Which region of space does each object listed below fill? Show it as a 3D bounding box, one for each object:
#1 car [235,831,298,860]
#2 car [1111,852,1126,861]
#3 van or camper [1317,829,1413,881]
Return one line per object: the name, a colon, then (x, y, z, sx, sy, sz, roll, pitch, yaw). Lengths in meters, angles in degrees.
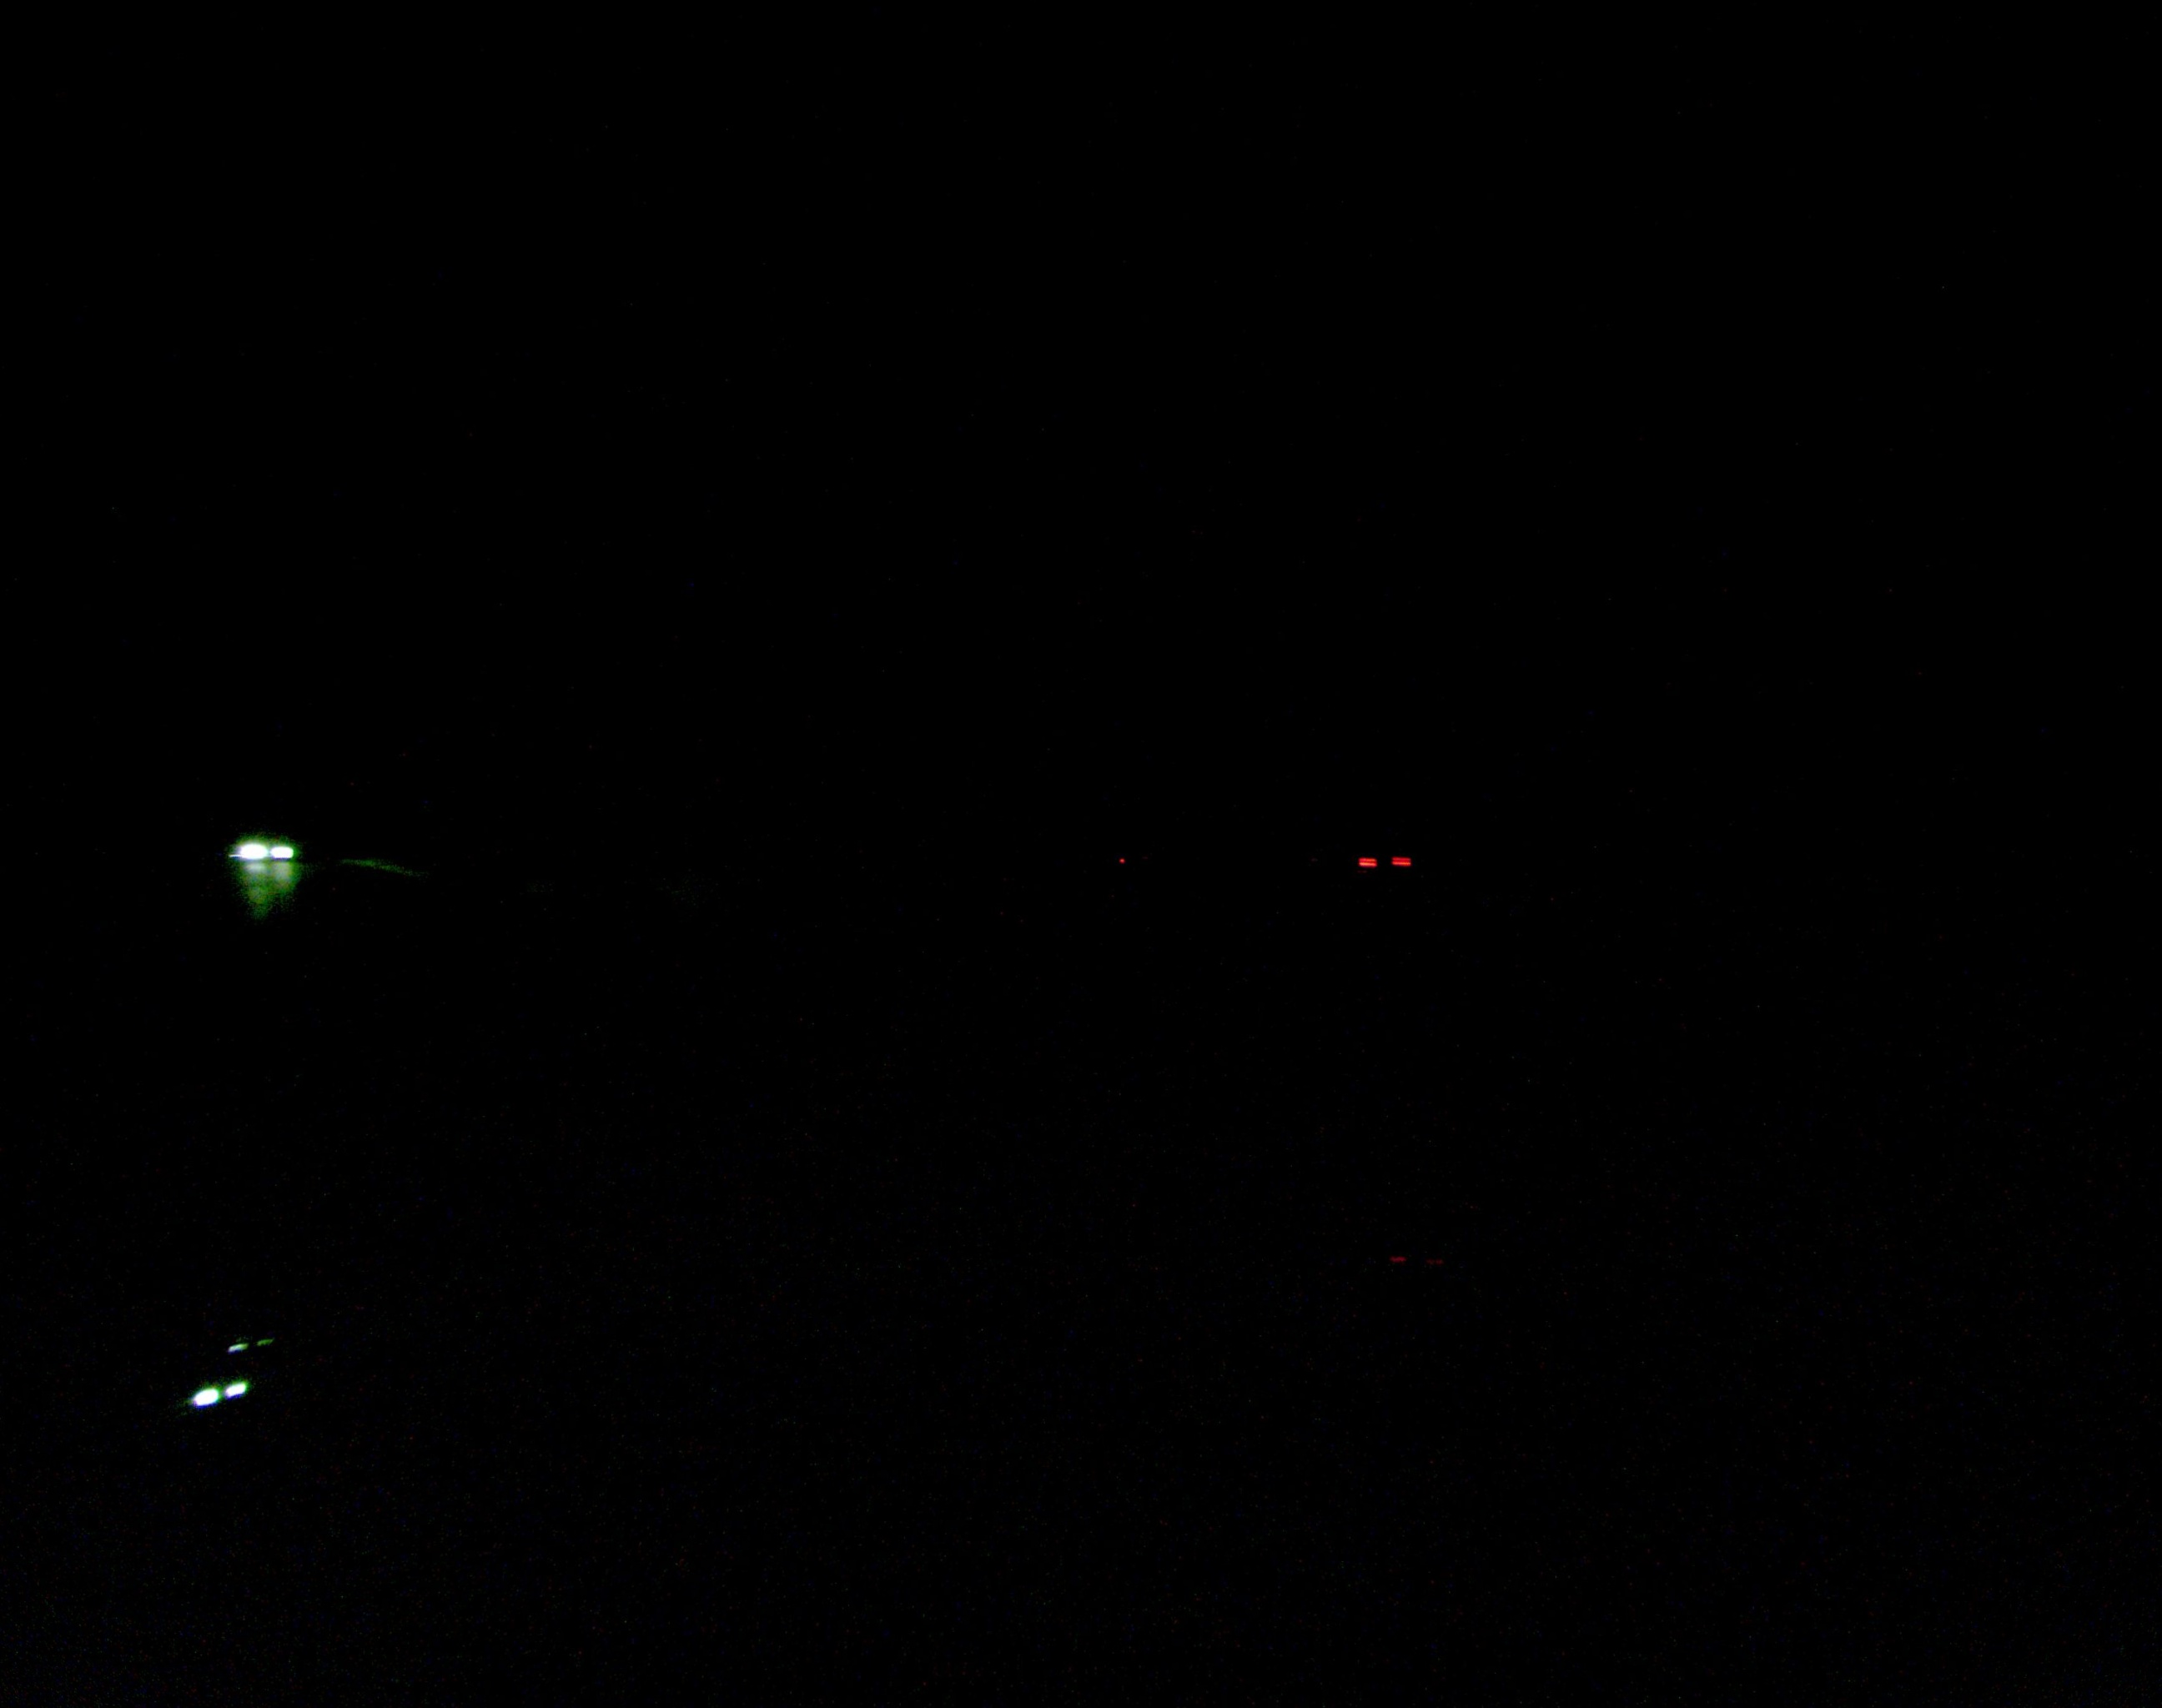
car: (-56.432, -0.603, 52.635, 3.990, 1.843, 2.003, -2, 1, 30)
car: (6.639, 0.434, 134.810, 2.000, 1.648, 4.531, -1, 0, -7)
van or camper: (15.568, 0.033, 42.302, 2.301, 2.602, 7.663, 0, 0, -2)
